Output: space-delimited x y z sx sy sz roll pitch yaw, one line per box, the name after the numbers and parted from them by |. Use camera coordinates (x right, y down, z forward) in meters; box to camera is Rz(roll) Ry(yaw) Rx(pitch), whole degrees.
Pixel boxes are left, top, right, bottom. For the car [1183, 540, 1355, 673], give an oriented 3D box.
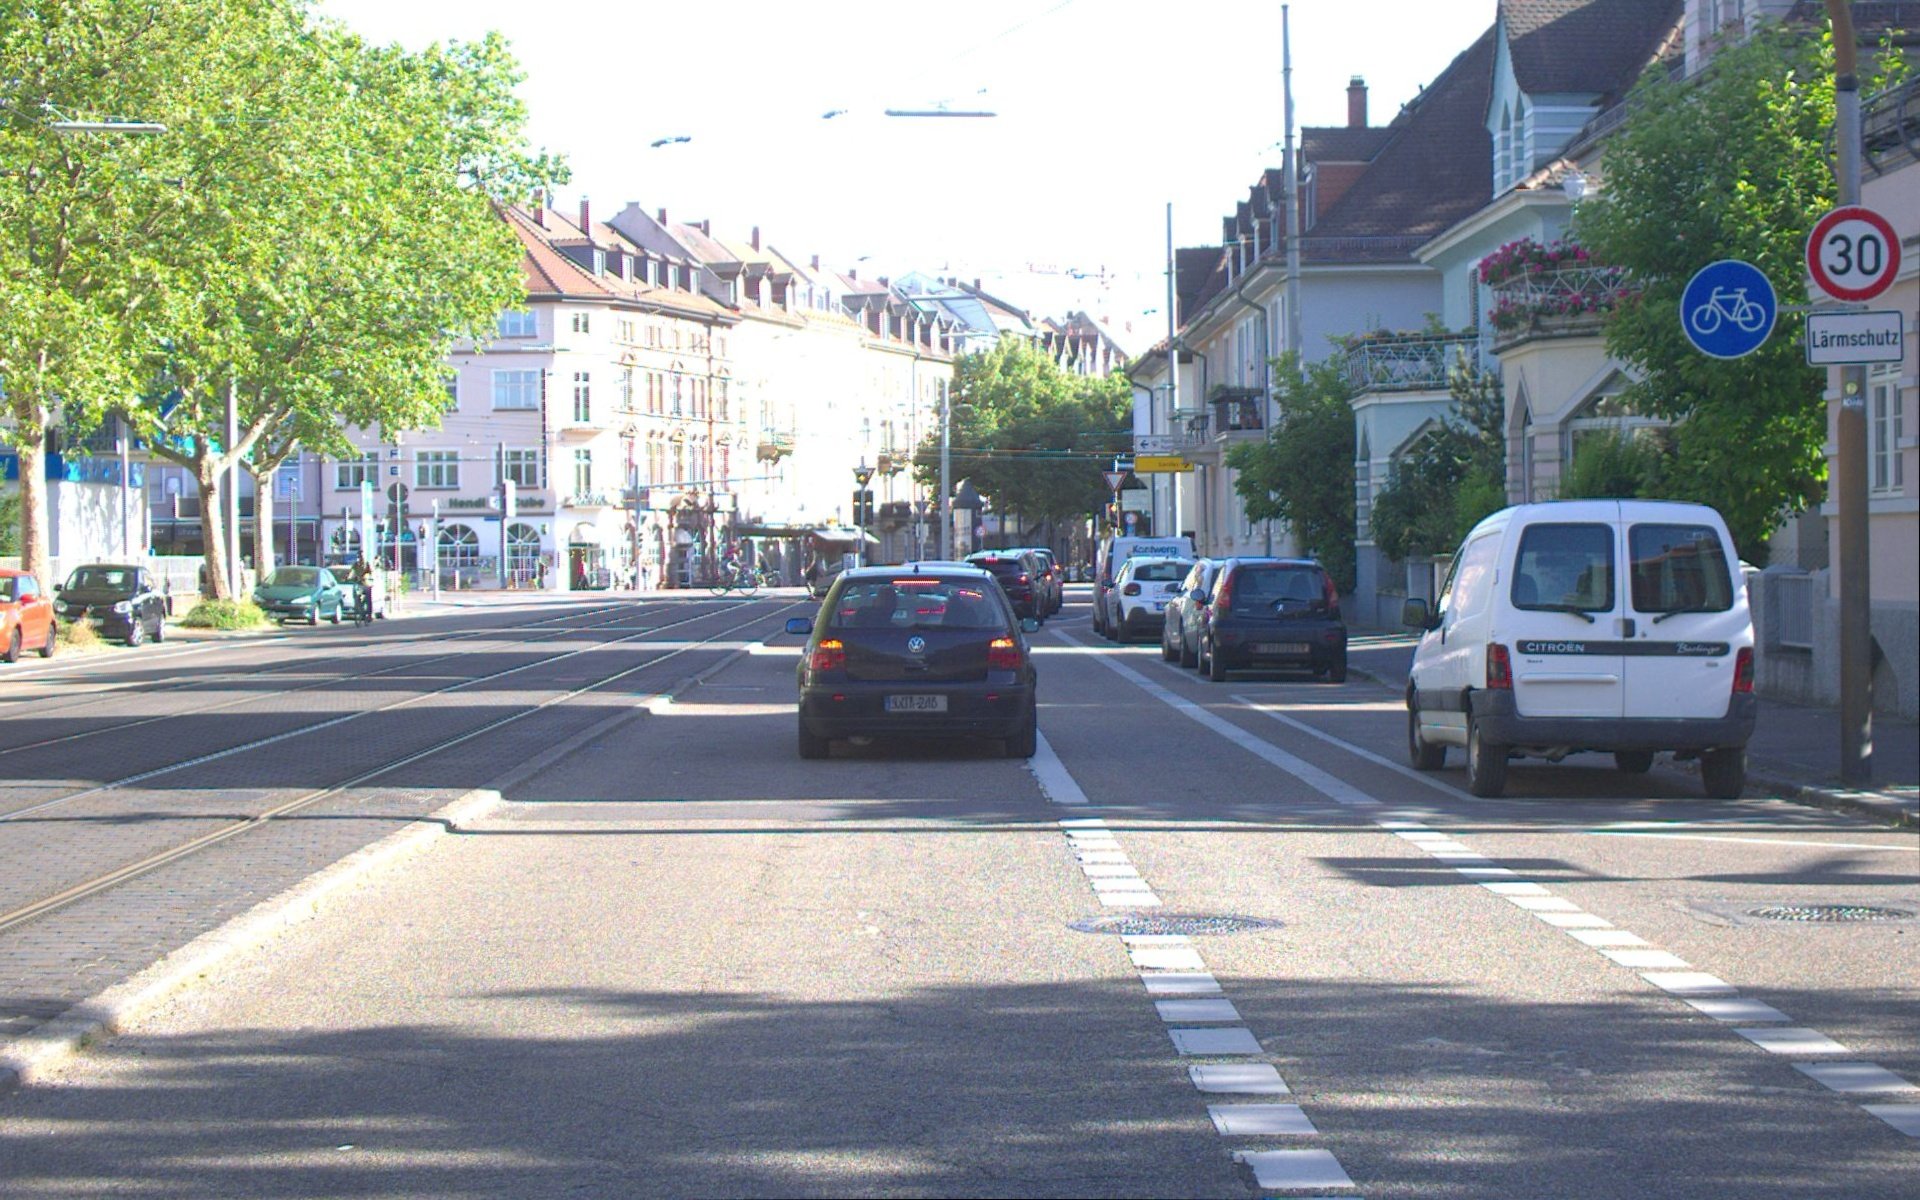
3.698 0.036 41.693 1.661 1.520 4.036 0 1 -1 | car

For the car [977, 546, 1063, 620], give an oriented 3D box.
1.203 -0.366 70.519 1.636 1.467 3.729 0 1 -1 | car

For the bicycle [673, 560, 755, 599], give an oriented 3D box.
-8.443 -0.714 118.051 2.742 1.258 0.706 1 1 -1 | bicycle

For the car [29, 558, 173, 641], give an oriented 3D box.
-16.450 -0.028 66.015 1.792 1.460 3.836 2 1 -1 | car

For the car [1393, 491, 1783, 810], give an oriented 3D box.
3.905 0.255 21.933 1.759 1.831 3.548 1 1 -1 | car

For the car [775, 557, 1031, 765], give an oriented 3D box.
-0.461 0.395 25.744 1.748 1.370 4.001 -1 1 -2 | car

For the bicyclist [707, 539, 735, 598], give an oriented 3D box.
-8.215 -1.095 118.040 0.876 2.002 0.706 1 1 -1 | bicyclist

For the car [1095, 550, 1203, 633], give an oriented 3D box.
3.235 -0.169 59.338 1.580 1.370 4.000 0 1 -1 | car

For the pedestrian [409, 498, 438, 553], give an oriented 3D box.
-25.282 -3.521 161.973 1.223 2.532 1.350 1 1 -5 | pedestrian

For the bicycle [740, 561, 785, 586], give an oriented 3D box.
-9.206 -1.235 160.266 2.086 1.137 0.922 1 1 -4 | bicycle

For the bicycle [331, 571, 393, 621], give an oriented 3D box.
-13.894 -0.112 79.946 0.914 1.079 3.203 1 1 -1 | bicycle

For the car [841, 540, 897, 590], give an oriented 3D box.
-2.739 -1.066 104.276 1.636 1.467 3.729 0 1 -1 | car

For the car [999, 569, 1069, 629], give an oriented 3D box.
1.861 -0.044 87.517 1.636 1.467 3.729 -1 1 -1 | car

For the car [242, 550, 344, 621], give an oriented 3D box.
-16.573 -0.386 85.543 1.883 1.663 3.805 1 1 -2 | car

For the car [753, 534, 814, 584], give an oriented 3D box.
-5.296 -1.243 103.467 1.636 1.467 3.729 1 1 -1 | car

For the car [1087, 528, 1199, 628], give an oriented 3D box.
3.384 -0.427 64.306 1.817 1.793 4.000 0 1 -1 | car

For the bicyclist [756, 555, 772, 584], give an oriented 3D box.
-9.128 -1.413 160.280 0.682 1.332 0.922 1 1 -4 | bicyclist

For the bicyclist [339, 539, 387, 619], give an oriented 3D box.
-13.887 -0.487 79.980 0.914 1.827 0.960 1 1 -1 | bicyclist

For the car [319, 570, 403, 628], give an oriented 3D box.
-16.013 -0.040 91.998 1.636 1.467 3.729 0 1 -1 | car

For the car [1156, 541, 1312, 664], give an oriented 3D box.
3.630 -0.001 46.057 1.748 1.532 3.955 -1 1 0 | car

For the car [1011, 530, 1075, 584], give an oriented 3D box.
2.280 -1.211 95.603 1.636 1.467 3.729 0 1 -1 | car

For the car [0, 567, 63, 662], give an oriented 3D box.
-16.099 0.234 56.937 1.570 1.528 3.572 0 0 -1 | car

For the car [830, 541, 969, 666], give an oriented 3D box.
-0.770 0.009 45.411 1.748 1.532 3.892 -1 1 0 | car
